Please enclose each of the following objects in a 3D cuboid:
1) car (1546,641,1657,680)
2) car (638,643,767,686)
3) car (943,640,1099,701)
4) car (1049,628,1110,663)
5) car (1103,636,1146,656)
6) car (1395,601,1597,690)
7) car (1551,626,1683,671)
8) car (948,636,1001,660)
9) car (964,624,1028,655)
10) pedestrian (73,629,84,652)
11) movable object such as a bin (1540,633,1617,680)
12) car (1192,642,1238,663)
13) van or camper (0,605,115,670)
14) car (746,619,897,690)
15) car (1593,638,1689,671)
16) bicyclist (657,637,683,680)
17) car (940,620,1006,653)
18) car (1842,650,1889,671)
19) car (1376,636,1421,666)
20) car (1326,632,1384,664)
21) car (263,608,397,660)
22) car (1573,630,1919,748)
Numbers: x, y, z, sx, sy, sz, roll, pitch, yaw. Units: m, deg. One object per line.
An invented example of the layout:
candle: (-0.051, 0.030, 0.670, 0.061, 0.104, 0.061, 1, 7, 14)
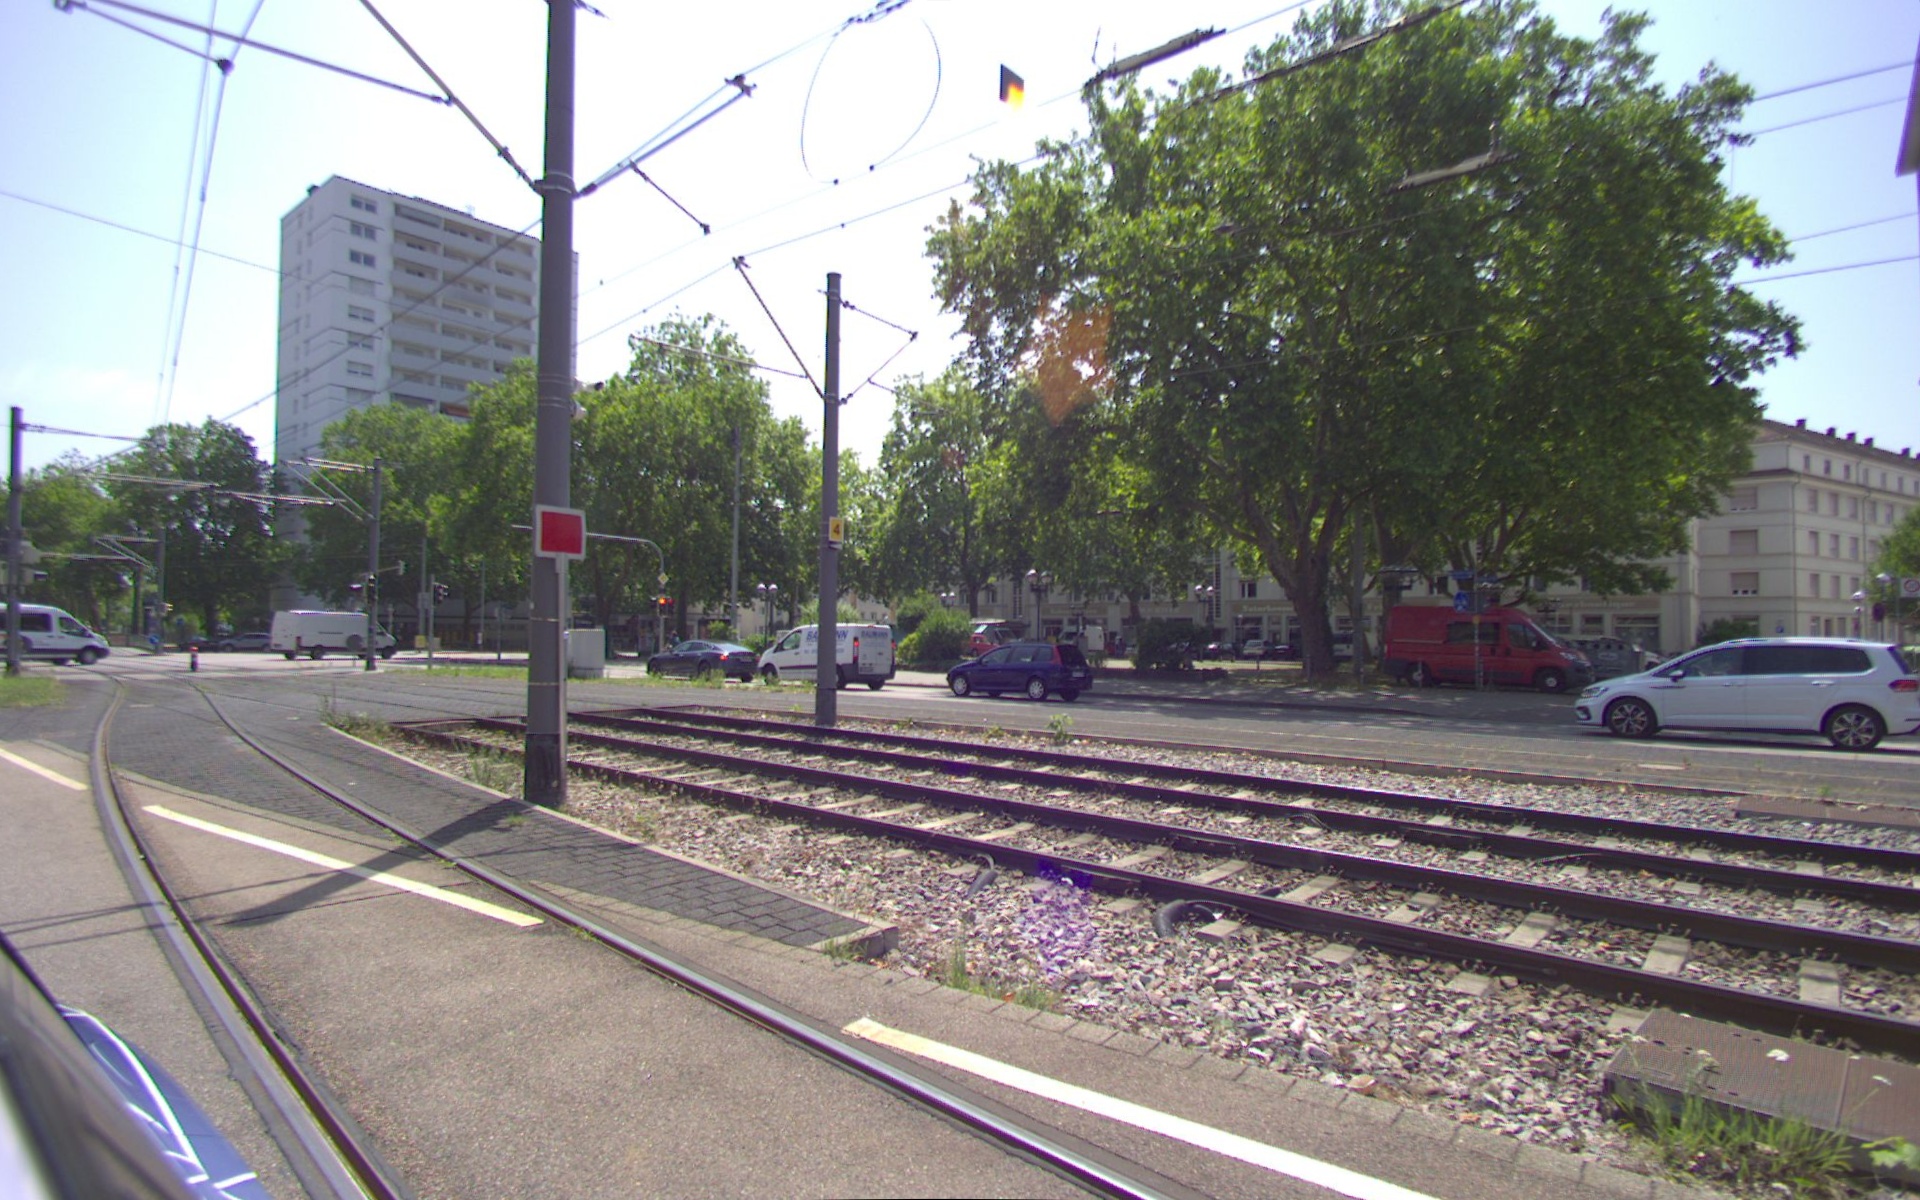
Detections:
car: (28.581, 2.664, 45.115, 3.994, 1.622, 1.845, -2, -3, 38)
car: (-8.880, 2.160, 34.693, 4.624, 1.369, 1.927, -2, -3, 39)
car: (1.501, 1.756, 25.777, 3.779, 1.431, 1.580, -2, -4, 40)
car: (9.524, 3.598, 80.456, 2.106, 2.680, 5.634, -2, -2, 39)
car: (12.594, 3.482, 77.272, 1.620, 1.420, 3.659, -2, -2, 40)
car: (15.650, 1.290, 29.703, 4.977, 2.411, 1.828, 0, -3, 40)
car: (30.746, 2.247, 47.449, 5.097, 2.006, 1.900, -2, -3, 36)
car: (0.880, 2.861, 61.139, 1.471, 1.394, 3.300, -2, -2, 39)
car: (2.423, 2.657, 68.511, 3.997, 2.099, 1.973, -1, -2, 40)
pedestrian: (-64.603, 2.974, 74.193, 0.554, 1.724, 0.503, -2, -2, 41)
movable object such as a bin: (22.502, 2.013, 36.805, 1.985, 1.623, 2.689, -1, -2, 40)
car: (18.165, 3.725, 72.002, 1.620, 1.420, 3.874, -2, -2, 40)
van or camper: (-37.346, 1.498, 39.993, 2.055, 2.480, 5.869, -1, -3, 17)
car: (-4.253, 1.630, 30.724, 4.800, 2.006, 1.759, -2, -3, 39)
car: (35.827, 2.829, 53.303, 3.997, 1.623, 1.973, -1, -2, 40)
bicyclist: (-11.712, 2.355, 40.847, 0.867, 1.698, 0.632, -2, -2, 37)
car: (0.831, 2.401, 66.557, 3.997, 2.099, 1.973, -1, -2, 40)
car: (61.123, 4.051, 68.300, 3.691, 1.342, 1.731, 2, -3, -38)
car: (27.479, 3.176, 63.319, 1.620, 1.759, 3.659, -2, -2, 40)
car: (25.423, 3.042, 65.105, 2.166, 1.964, 3.942, -2, -2, 44)
car: (-34.194, 1.833, 55.237, 2.058, 2.657, 6.601, 0, -2, 15)
car: (12.580, 1.329, 16.100, 4.600, 1.638, 1.827, -2, -4, 41)
